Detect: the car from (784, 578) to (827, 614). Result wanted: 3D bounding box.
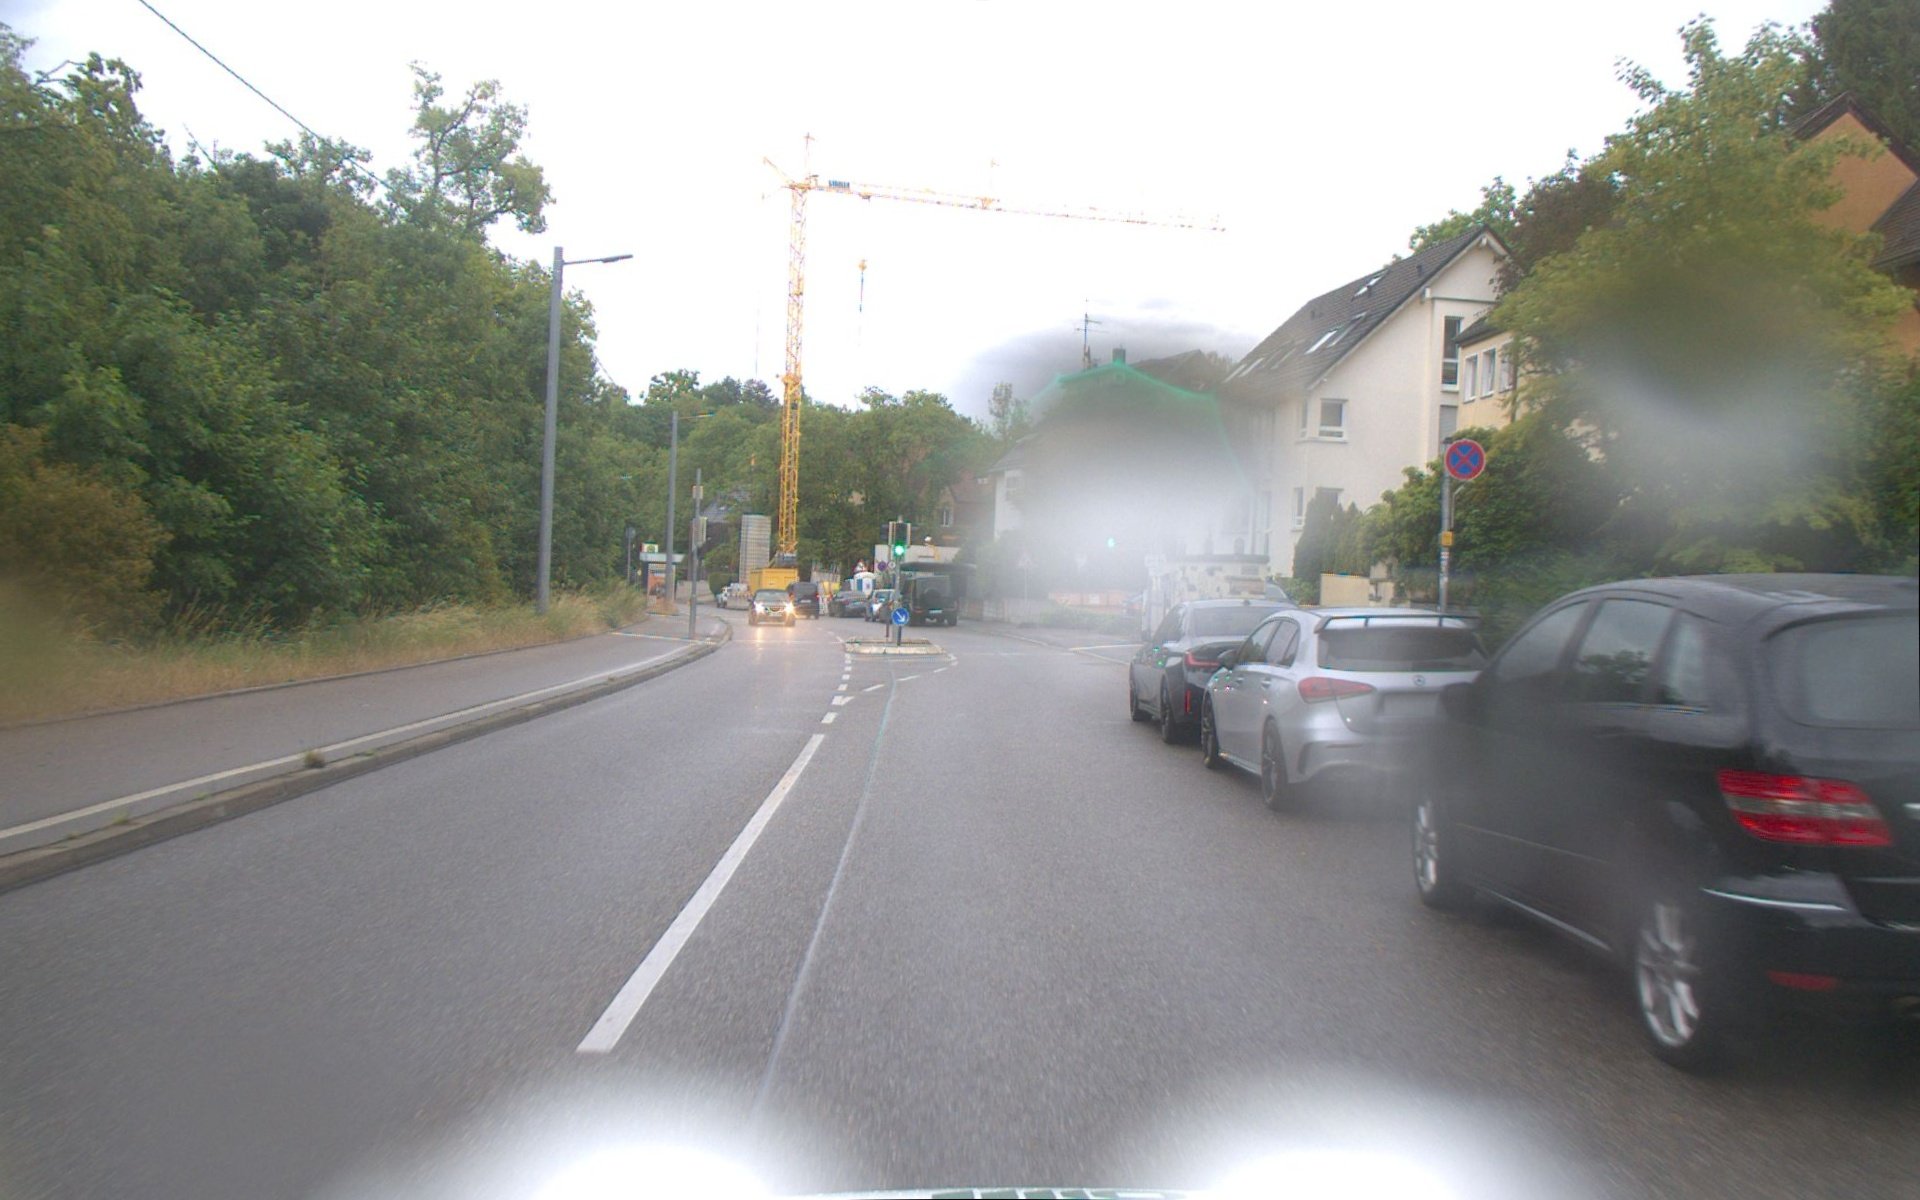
[{"bbox_3d":[-8.029,-0.214,85.791,1.896,1.781,3.991,1,1,-10],"label":"car"}]

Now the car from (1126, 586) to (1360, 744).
[{"bbox_3d":[2.932,0.634,18.078,1.716,1.468,4.599,1,0,-1],"label":"car"}]

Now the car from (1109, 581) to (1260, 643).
[{"bbox_3d":[7.062,0.380,52.236,4.249,1.623,1.988,4,-1,-10],"label":"car"}]

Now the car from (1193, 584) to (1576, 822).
[{"bbox_3d":[3.078,0.694,12.988,1.756,1.513,4.494,1,-1,-1],"label":"car"}]

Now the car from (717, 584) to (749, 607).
[{"bbox_3d":[-18.147,-0.377,132.087,1.718,1.735,4.479,-1,1,-18],"label":"car"}]

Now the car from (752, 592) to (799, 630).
[{"bbox_3d":[-7.433,0.427,66.482,1.711,1.485,4.405,1,0,-8],"label":"car"}]

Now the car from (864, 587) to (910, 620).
[{"bbox_3d":[-3.425,0.141,77.063,1.643,1.483,3.376,0,0,-12],"label":"car"}]

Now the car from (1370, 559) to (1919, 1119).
[{"bbox_3d":[3.162,0.661,6.989,1.695,1.595,4.521,0,1,-1],"label":"car"}]

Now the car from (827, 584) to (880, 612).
[{"bbox_3d":[-5.880,-0.110,90.982,1.901,1.447,4.815,2,0,-16],"label":"car"}]

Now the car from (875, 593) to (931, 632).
[{"bbox_3d":[-2.549,0.549,72.935,1.896,1.624,4.385,-1,0,-9],"label":"car"}]

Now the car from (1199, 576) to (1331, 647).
[{"bbox_3d":[7.841,0.287,42.922,1.897,1.623,4.331,4,-1,-10],"label":"car"}]

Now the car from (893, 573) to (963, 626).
[{"bbox_3d":[-1.369,-0.040,68.018,1.959,2.049,4.941,-1,0,-12],"label":"car"}]
